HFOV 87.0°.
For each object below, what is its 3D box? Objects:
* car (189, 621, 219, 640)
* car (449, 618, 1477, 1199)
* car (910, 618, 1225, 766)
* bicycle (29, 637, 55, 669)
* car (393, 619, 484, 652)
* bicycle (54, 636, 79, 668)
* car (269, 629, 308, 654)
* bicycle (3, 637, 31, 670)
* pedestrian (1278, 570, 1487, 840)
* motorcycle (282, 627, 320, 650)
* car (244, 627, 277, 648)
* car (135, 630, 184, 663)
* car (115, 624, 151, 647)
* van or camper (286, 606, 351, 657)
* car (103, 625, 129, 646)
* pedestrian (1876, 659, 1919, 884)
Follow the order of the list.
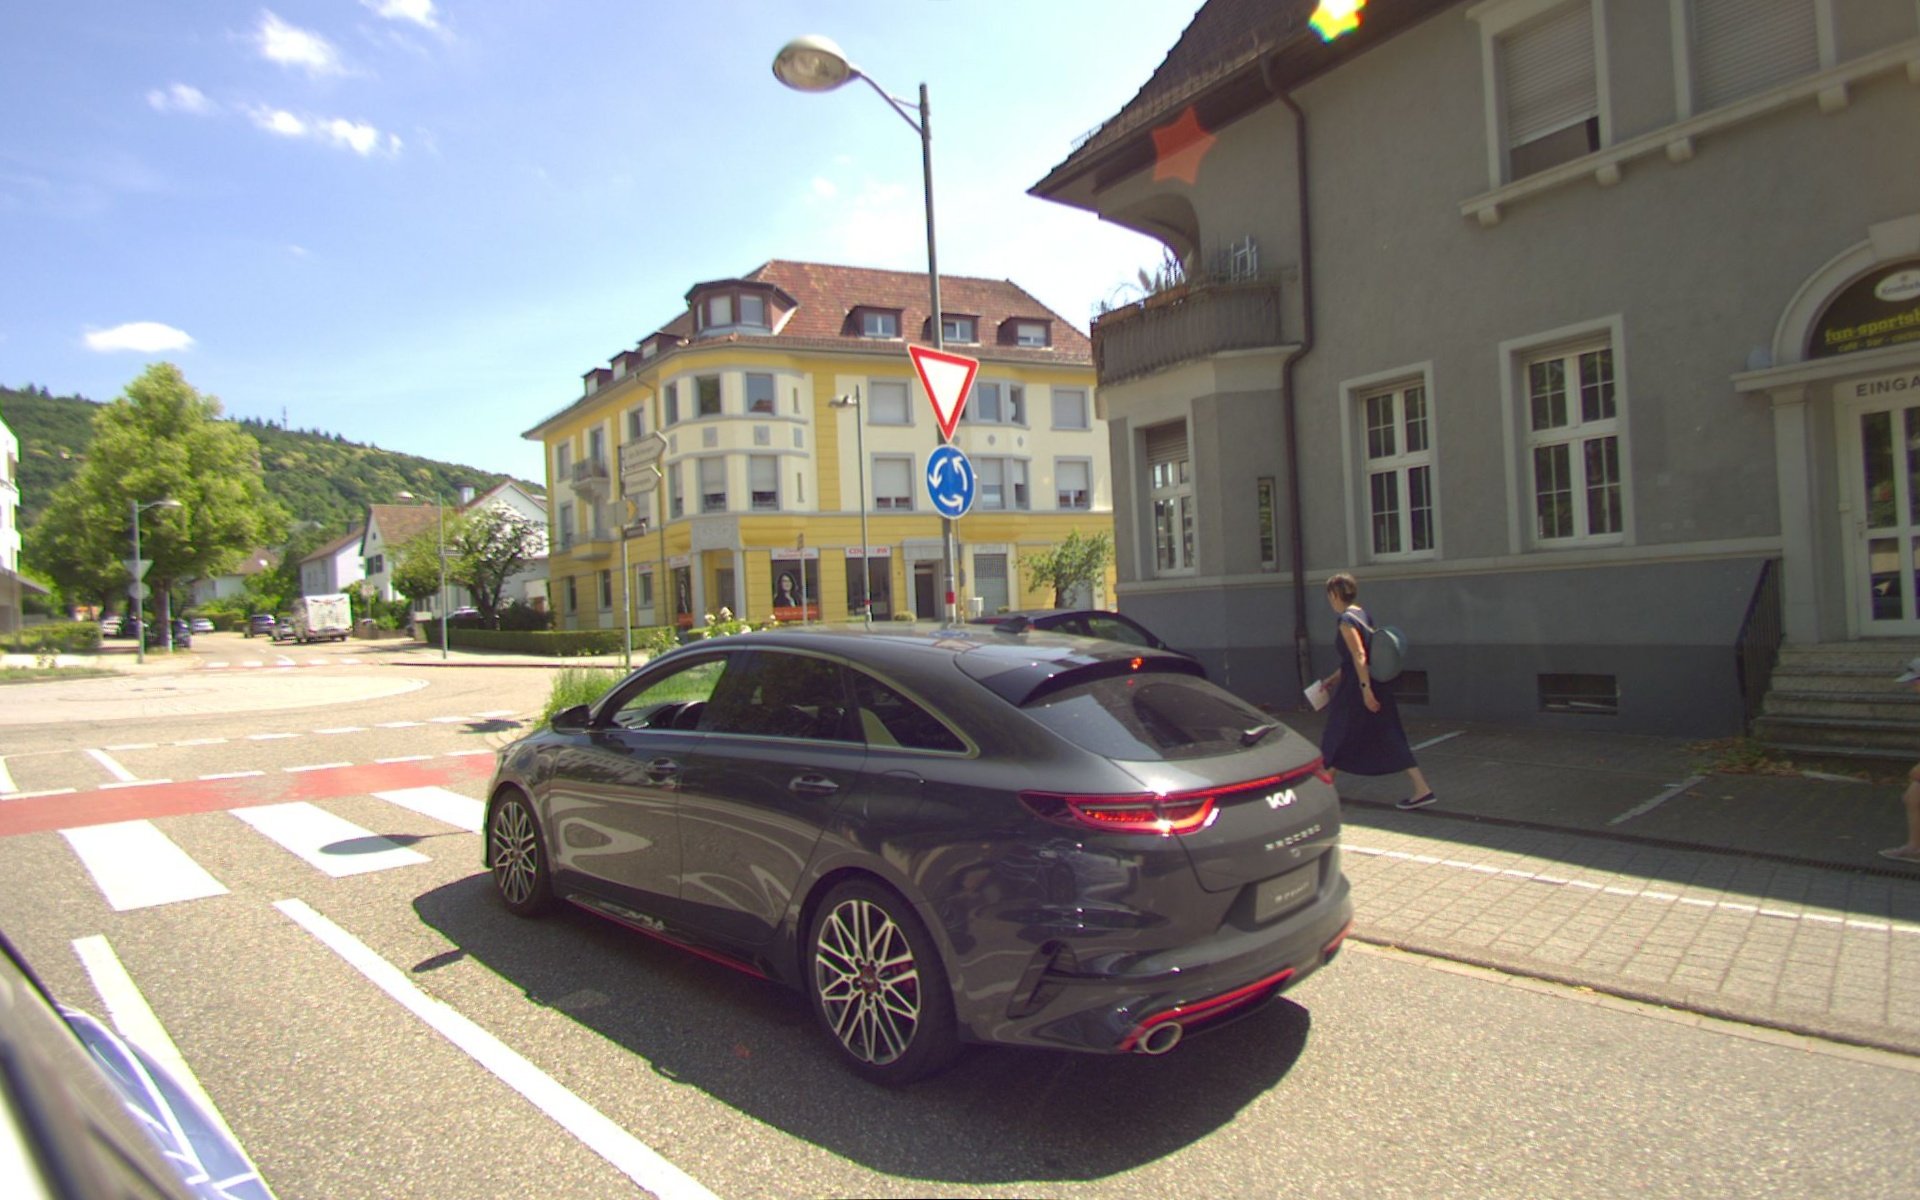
[{"bbox_3d":[-74.201,2.981,99.313,1.969,1.679,4.005,0,0,-42],"label":"car"},{"bbox_3d":[-0.428,0.831,4.340,4.393,1.437,1.749,-2,-1,43],"label":"car"},{"bbox_3d":[1.401,0.995,12.382,3.733,1.471,1.727,0,-1,-41],"label":"car"},{"bbox_3d":[-40.800,2.340,44.998,0.560,1.388,1.752,0,-1,-32],"label":"bicycle"},{"bbox_3d":[-27.985,1.895,54.401,1.753,1.598,3.944,-2,-1,36],"label":"car"},{"bbox_3d":[-40.104,2.322,45.423,0.560,1.388,1.752,0,-1,-32],"label":"bicycle"},{"bbox_3d":[-43.781,2.705,65.932,1.728,1.516,3.999,-1,-1,-39],"label":"car"},{"bbox_3d":[-41.488,2.339,44.529,0.560,1.388,1.752,0,-1,-32],"label":"bicycle"},{"bbox_3d":[3.032,0.695,7.294,0.862,1.755,1.113,0,-1,-44],"label":"pedestrian"},{"bbox_3d":[-40.857,2.393,62.760,0.730,1.330,2.229,-1,-1,6],"label":"motorcycle"},{"bbox_3d":[-53.540,2.859,77.435,1.728,1.516,3.999,-1,-1,-39],"label":"car"},{"bbox_3d":[-40.050,2.297,50.603,1.729,1.516,3.998,-1,-1,-41],"label":"car"},{"bbox_3d":[-64.388,2.732,78.793,1.969,1.679,4.005,0,0,-42],"label":"car"},{"bbox_3d":[-37.230,1.799,58.638,2.239,2.658,5.895,-4,1,-40],"label":"van or camper"},{"bbox_3d":[-76.634,3.191,91.945,1.739,1.763,4.007,-1,-1,-39],"label":"car"},{"bbox_3d":[5.439,0.898,5.292,0.745,1.130,0.898,0,-1,-44],"label":"pedestrian"}]
